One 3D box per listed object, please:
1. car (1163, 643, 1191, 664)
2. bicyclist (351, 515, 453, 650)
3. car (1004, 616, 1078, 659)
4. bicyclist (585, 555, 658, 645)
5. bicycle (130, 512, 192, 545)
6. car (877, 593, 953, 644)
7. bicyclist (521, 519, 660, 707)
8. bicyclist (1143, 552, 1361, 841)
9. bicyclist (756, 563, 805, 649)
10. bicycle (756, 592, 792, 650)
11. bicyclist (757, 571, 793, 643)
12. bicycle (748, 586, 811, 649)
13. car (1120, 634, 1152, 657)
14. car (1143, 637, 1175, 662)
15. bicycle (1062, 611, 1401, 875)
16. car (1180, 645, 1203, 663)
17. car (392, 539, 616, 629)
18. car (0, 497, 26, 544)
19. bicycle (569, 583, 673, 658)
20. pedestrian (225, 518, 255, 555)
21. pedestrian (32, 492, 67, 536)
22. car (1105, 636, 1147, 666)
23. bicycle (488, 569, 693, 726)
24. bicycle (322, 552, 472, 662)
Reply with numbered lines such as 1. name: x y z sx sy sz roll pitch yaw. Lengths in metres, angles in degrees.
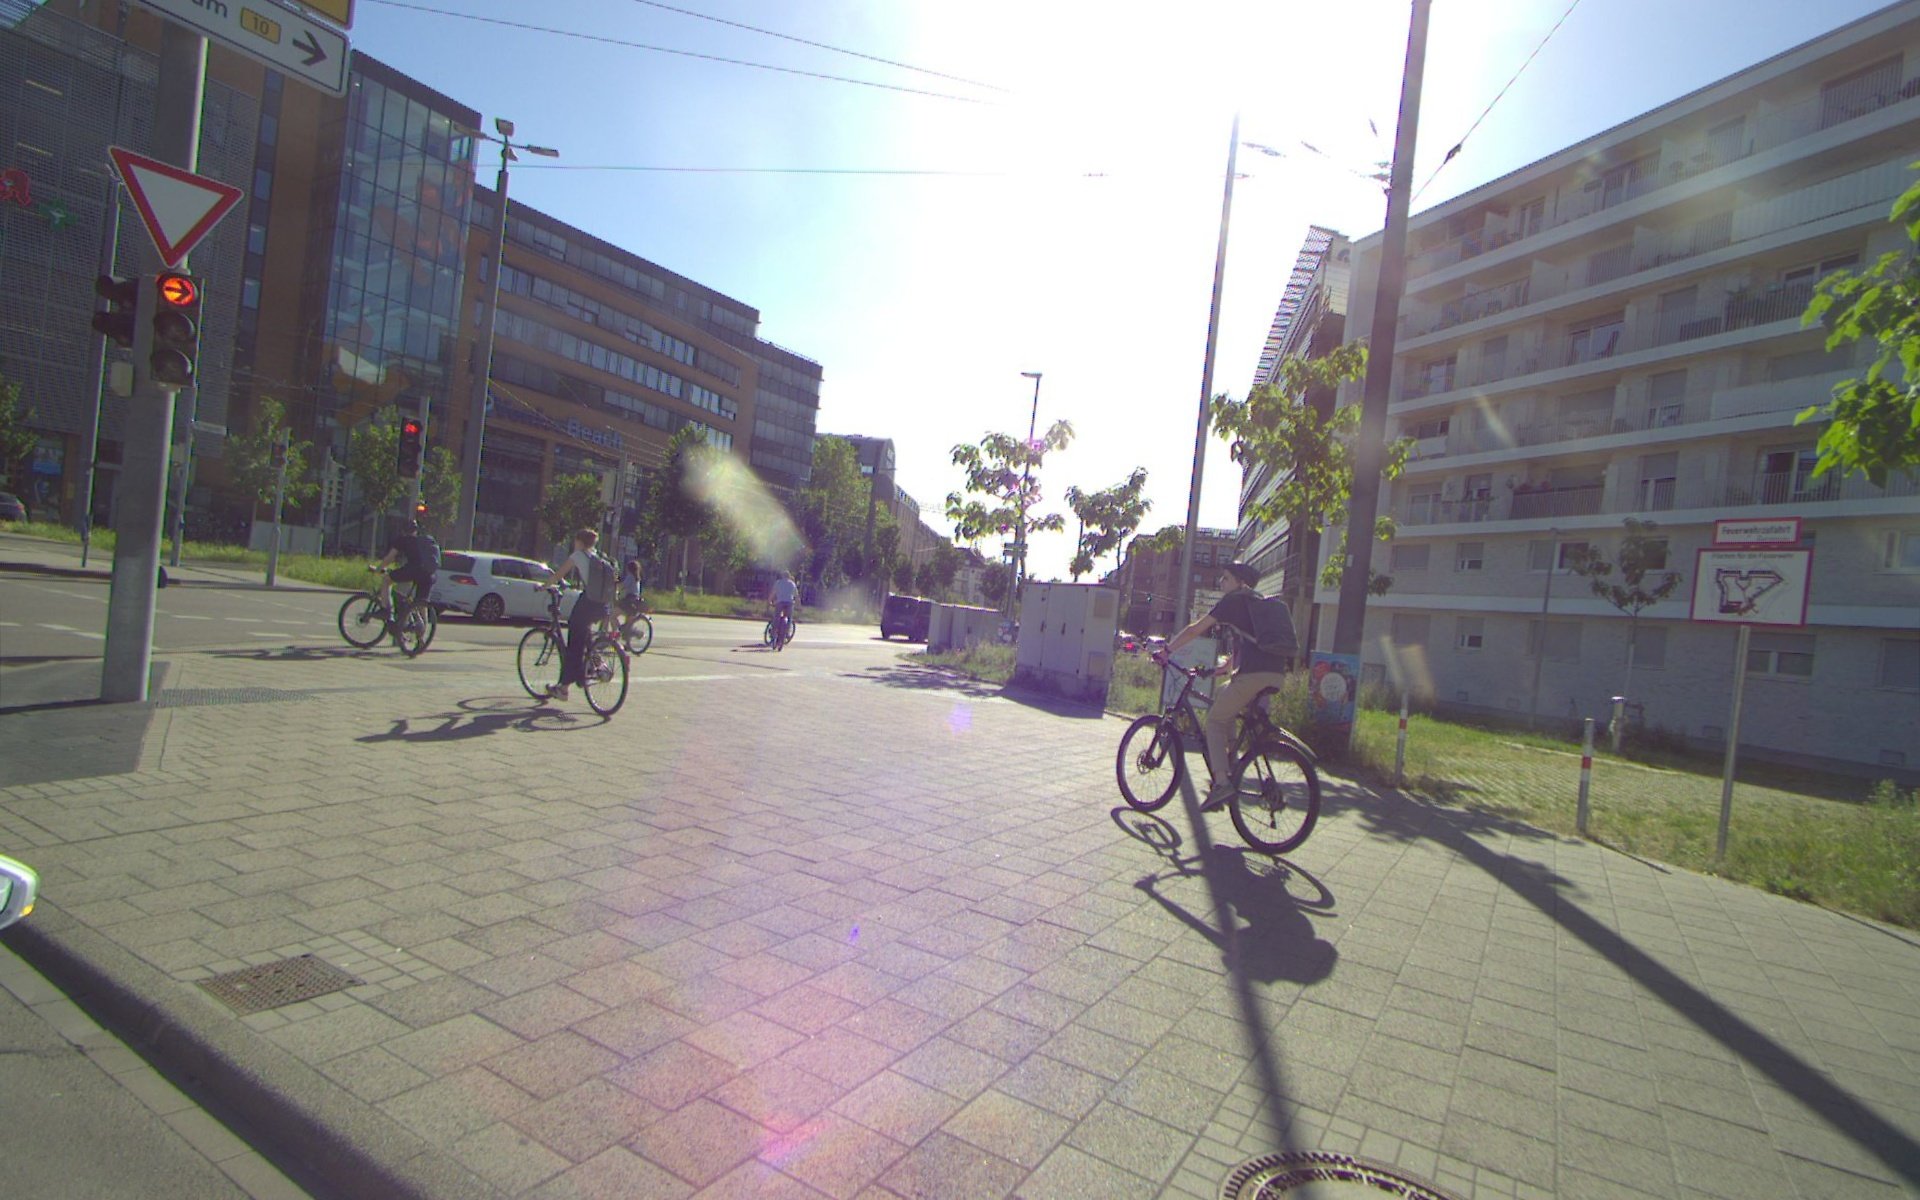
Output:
1. car: 18.394 4.544 85.255 1.677 1.515 4.281 7 -2 19
2. bicyclist: -7.361 -0.231 13.280 0.955 1.649 0.630 7 0 29
3. car: 3.784 1.751 46.285 1.679 1.531 4.275 7 -2 28
4. bicyclist: -5.870 -0.001 17.455 0.925 1.453 0.667 4 -1 34
5. bicycle: -40.521 -3.617 51.047 0.595 1.310 2.260 7 -2 30
6. car: -1.810 0.836 42.223 1.677 1.813 4.476 7 -1 15
7. bicyclist: -3.495 0.124 9.522 0.956 1.649 0.667 7 0 37
8. bicyclist: 1.901 0.599 6.618 0.730 1.715 0.961 6 0 -37
9. bicyclist: -4.147 0.144 23.293 0.795 1.888 0.750 6 0 4
10. bicycle: -4.859 0.528 26.241 0.705 1.345 1.743 5 2 -14
11. bicyclist: -4.860 0.168 26.385 0.705 1.748 1.090 6 2 -14
12. bicycle: -4.150 0.429 23.328 0.744 1.316 2.156 6 -1 6
13. car: 13.910 3.620 79.491 1.677 1.515 4.281 7 -2 19
14. car: 14.955 3.717 75.447 1.677 1.515 4.281 7 -2 19
15. bicycle: 1.728 0.861 6.776 0.731 1.377 2.054 6 0 -37
16. car: 23.417 5.442 101.864 1.677 1.515 4.281 7 -2 19
17. car: -9.843 -0.280 22.121 1.831 1.490 4.296 7 -1 22
18. car: -33.919 -3.022 33.134 1.810 1.484 4.161 6 -5 30
19. bicycle: -5.865 0.343 17.360 1.791 1.085 0.667 7 1 34
20. pedestrian: -38.692 -3.408 54.086 1.023 1.852 1.008 6 2 -27
21. pedestrian: -41.028 -3.857 45.349 0.834 1.850 0.949 3 -1 37
22. car: 10.188 3.133 61.528 1.675 1.591 4.874 7 -1 18
23. bicycle: -3.541 0.417 9.532 2.121 1.212 0.667 6 0 37
24. bicycle: -7.486 0.077 13.347 2.117 1.212 0.637 6 0 29
